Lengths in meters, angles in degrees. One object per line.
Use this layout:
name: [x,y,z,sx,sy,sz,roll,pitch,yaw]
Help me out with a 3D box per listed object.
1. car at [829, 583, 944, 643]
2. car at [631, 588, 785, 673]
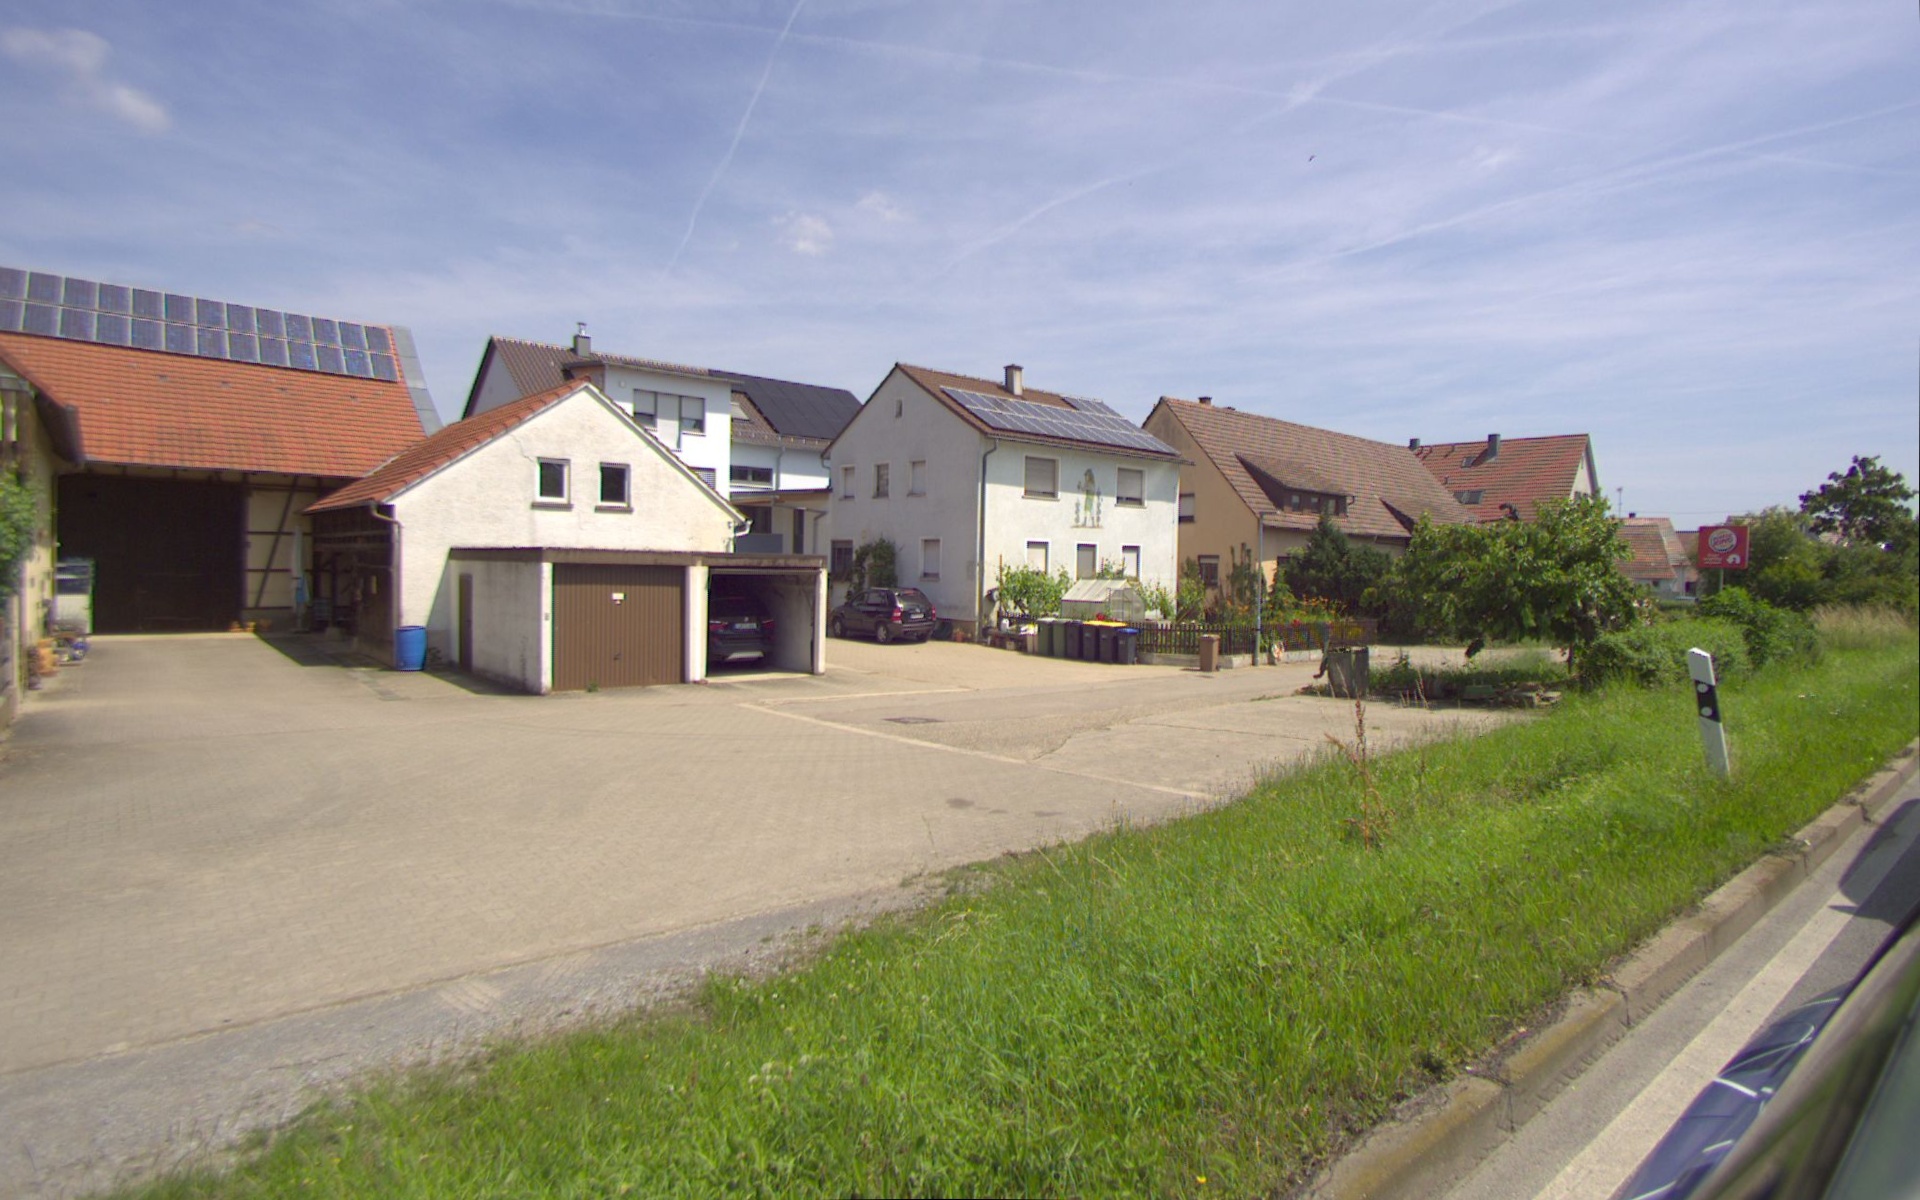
car: [-2.439,0.354,32.776,1.810,1.714,3.959,-1,3,-38]
car: [-5.687,0.585,22.539,1.802,1.597,3.996,-1,2,-40]
